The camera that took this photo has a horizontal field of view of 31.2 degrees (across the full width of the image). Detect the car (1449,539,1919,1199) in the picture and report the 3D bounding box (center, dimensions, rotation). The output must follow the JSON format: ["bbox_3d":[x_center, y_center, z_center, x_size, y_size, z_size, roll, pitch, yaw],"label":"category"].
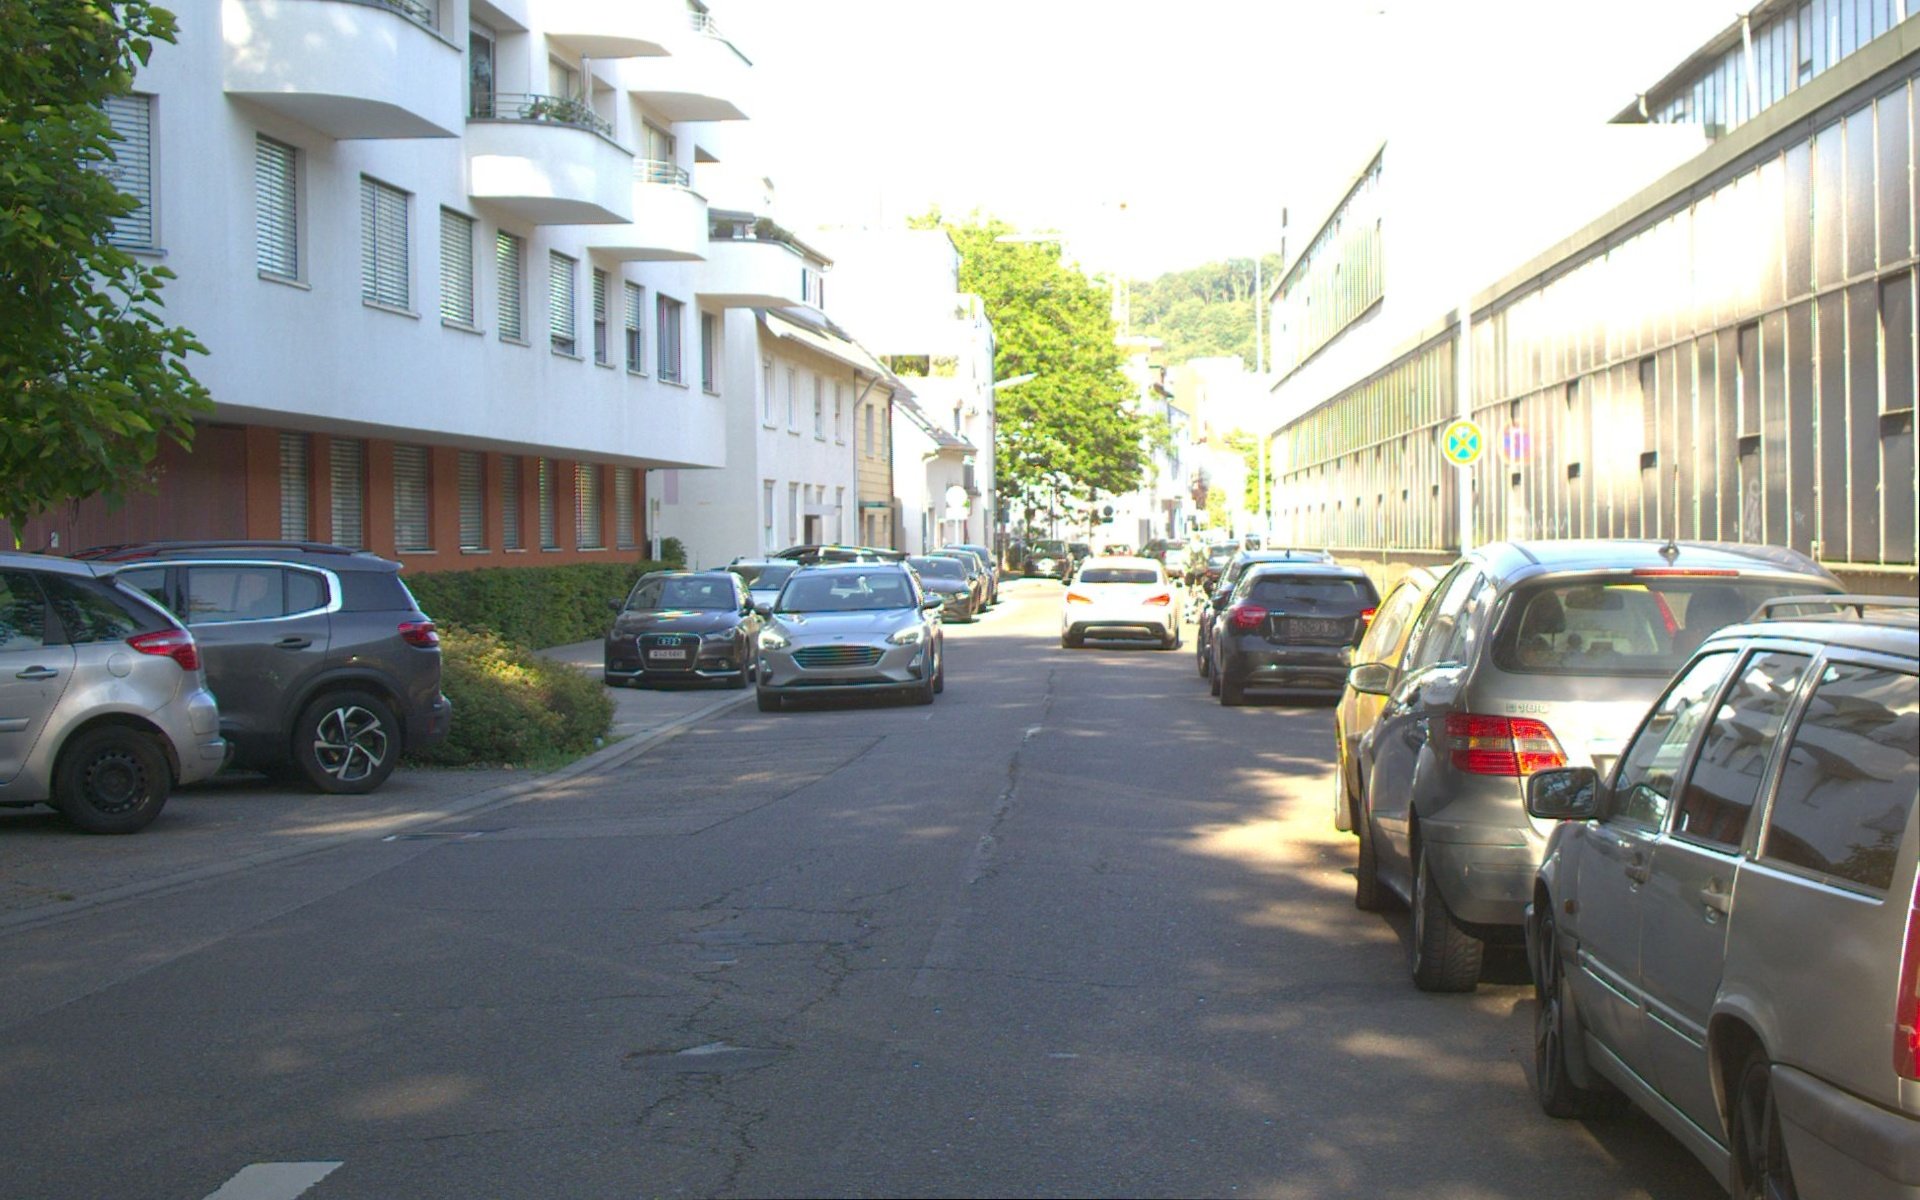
[{"bbox_3d":[2.345,0.659,7.517,1.900,1.488,4.529,1,0,0],"label":"car"}]

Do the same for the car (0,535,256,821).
[{"bbox_3d":[-6.383,0.422,20.221,4.125,1.634,1.777,1,0,-21],"label":"car"}]

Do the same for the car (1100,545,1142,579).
[{"bbox_3d":[7.299,-1.694,155.743,1.842,1.486,4.144,1,0,3],"label":"car"}]

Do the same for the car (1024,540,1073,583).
[{"bbox_3d":[3.883,-1.698,150.035,1.853,1.785,4.606,1,1,5],"label":"car"}]

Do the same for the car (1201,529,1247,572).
[{"bbox_3d":[10.158,-1.882,132.367,1.629,1.581,4.069,-2,0,3],"label":"car"}]

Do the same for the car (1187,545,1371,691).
[{"bbox_3d":[3.746,0.191,41.010,1.807,1.581,4.405,2,0,1],"label":"car"}]

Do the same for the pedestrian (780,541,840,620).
[{"bbox_3d":[-3.542,-0.460,81.321,0.863,1.812,1.130,5,2,27],"label":"pedestrian"}]

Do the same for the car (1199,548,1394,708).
[{"bbox_3d":[3.443,0.262,35.825,1.751,1.486,4.621,2,0,3],"label":"car"}]

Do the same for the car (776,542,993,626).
[{"bbox_3d":[-1.524,-0.327,70.406,4.321,1.530,1.690,2,0,1],"label":"car"}]

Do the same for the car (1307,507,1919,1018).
[{"bbox_3d":[2.378,0.517,13.407,1.750,1.629,4.309,1,0,2],"label":"car"}]

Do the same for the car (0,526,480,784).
[{"bbox_3d":[-5.434,0.363,23.353,3.946,1.656,1.700,1,0,-25],"label":"car"}]

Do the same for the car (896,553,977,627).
[{"bbox_3d":[-0.519,-0.230,76.249,1.684,1.530,4.335,2,0,0],"label":"car"}]

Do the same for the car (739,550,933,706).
[{"bbox_3d":[-1.245,0.252,36.283,1.899,1.531,4.621,0,1,0],"label":"car"}]

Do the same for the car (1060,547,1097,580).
[{"bbox_3d":[5.828,-1.816,168.585,1.704,1.570,3.913,1,1,3],"label":"car"}]

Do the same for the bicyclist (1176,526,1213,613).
[{"bbox_3d":[4.886,-0.635,71.614,0.698,1.784,1.040,1,0,5],"label":"bicyclist"}]

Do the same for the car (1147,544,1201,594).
[{"bbox_3d":[8.071,-1.191,130.236,1.853,1.785,4.607,1,1,2],"label":"car"}]

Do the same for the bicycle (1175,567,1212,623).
[{"bbox_3d":[4.874,-0.115,71.664,0.698,1.126,2.402,1,0,5],"label":"bicycle"}]

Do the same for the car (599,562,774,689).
[{"bbox_3d":[-3.314,0.287,42.221,1.674,1.428,3.770,2,0,2],"label":"car"}]

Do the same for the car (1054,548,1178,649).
[{"bbox_3d":[2.450,-0.031,54.124,1.842,1.486,4.144,1,0,3],"label":"car"}]

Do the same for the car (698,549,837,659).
[{"bbox_3d":[-2.984,0.040,54.088,1.857,1.581,4.621,2,0,0],"label":"car"}]

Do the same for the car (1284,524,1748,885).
[{"bbox_3d":[2.759,0.472,17.889,1.750,1.629,4.001,1,0,0],"label":"car"}]
